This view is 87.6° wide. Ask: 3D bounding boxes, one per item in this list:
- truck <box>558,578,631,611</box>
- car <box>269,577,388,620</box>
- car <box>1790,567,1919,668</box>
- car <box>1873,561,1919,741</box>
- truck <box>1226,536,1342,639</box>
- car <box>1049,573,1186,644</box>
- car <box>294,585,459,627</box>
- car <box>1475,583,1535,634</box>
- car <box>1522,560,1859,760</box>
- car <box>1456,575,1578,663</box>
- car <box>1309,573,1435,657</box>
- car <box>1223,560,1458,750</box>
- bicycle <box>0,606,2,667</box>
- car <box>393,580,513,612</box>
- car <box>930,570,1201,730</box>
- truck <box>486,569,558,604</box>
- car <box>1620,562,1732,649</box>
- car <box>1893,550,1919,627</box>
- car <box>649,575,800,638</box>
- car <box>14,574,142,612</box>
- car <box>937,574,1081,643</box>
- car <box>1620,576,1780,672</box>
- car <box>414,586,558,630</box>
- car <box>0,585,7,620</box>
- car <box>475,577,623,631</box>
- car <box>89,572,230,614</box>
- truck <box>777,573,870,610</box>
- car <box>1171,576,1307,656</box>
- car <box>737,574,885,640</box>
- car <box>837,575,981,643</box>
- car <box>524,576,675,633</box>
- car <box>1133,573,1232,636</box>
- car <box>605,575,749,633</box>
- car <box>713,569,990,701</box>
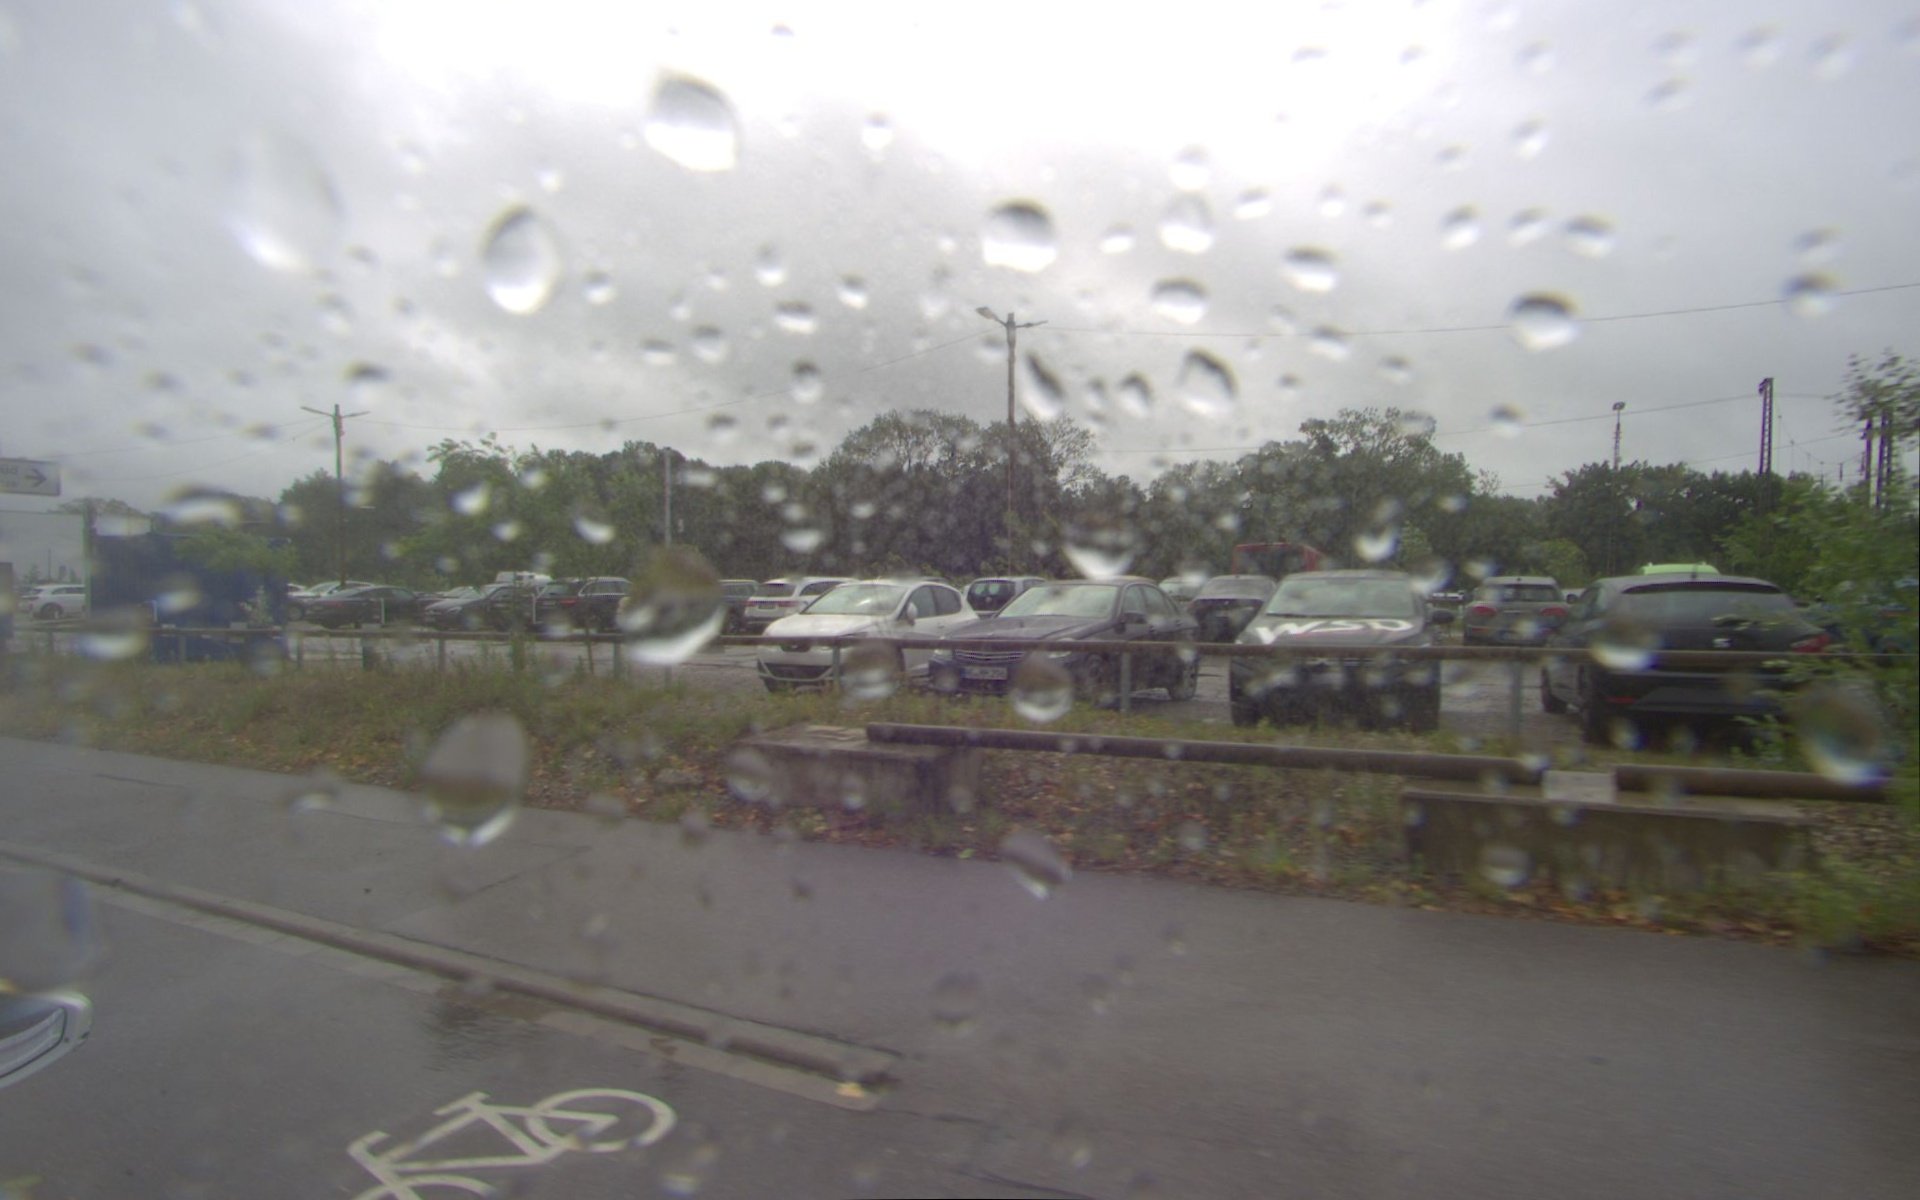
[{"bbox_3d":[-25.051,-0.390,68.562,5.010,2.167,2.067,1,2,32],"label":"truck"},{"bbox_3d":[-27.951,-0.089,44.463,1.802,1.682,4.057,-1,2,25],"label":"car"},{"bbox_3d":[15.922,0.232,17.154,1.897,1.510,4.058,-1,2,29],"label":"car"},{"bbox_3d":[9.060,0.440,7.728,1.866,1.615,3.896,0,0,25],"label":"car"},{"bbox_3d":[8.646,-0.356,26.380,2.119,2.400,5.284,1,2,27],"label":"truck"},{"bbox_3d":[3.703,0.141,22.982,1.858,1.447,3.945,-1,2,29],"label":"car"},{"bbox_3d":[-19.885,0.166,34.360,1.947,1.238,4.583,-1,2,26],"label":"car"},{"bbox_3d":[18.227,0.257,33.576,1.665,1.606,4.159,0,0,28],"label":"car"},{"bbox_3d":[6.363,0.446,9.217,1.750,1.413,3.896,-1,0,25],"label":"car"},{"bbox_3d":[10.630,0.287,19.158,1.858,1.447,3.945,-1,2,29],"label":"car"},{"bbox_3d":[8.262,0.229,19.877,1.858,1.447,3.945,-1,2,29],"label":"car"},{"bbox_3d":[3.793,0.439,9.745,1.750,1.441,3.896,0,0,25],"label":"car"},{"bbox_3d":[-17.316,0.652,17.668,0.503,1.099,1.687,-2,2,-41],"label":"bicycle"},{"bbox_3d":[-20.420,-0.186,40.501,1.802,1.086,4.057,-1,2,25],"label":"car"},{"bbox_3d":[1.367,0.474,11.185,1.875,1.441,3.896,-1,0,25],"label":"car"},{"bbox_3d":[-31.441,-1.015,71.881,5.003,2.435,2.070,1,2,27],"label":"truck"},{"bbox_3d":[16.406,0.097,23.126,1.770,1.824,3.979,0,1,31],"label":"car"},{"bbox_3d":[21.152,-0.246,20.707,1.738,1.662,3.983,0,1,28],"label":"car"},{"bbox_3d":[-6.295,0.131,27.189,1.751,1.510,3.945,-1,2,29],"label":"car"},{"bbox_3d":[-39.308,-0.354,44.715,1.899,1.504,3.821,-1,3,30],"label":"car"},{"bbox_3d":[1.254,0.146,23.780,1.858,1.447,3.945,-1,2,29],"label":"car"},{"bbox_3d":[13.078,0.348,17.938,1.794,1.447,3.945,-1,2,29],"label":"car"},{"bbox_3d":[-15.116,0.234,32.101,1.624,1.238,3.878,0,2,32],"label":"car"},{"bbox_3d":[-49.920,0.132,48.817,1.984,1.738,4.623,0,0,21],"label":"car"},{"bbox_3d":[-12.742,0.098,31.272,1.842,1.510,3.945,-1,2,29],"label":"car"},{"bbox_3d":[-32.679,-0.317,40.993,1.899,1.504,4.036,-1,3,30],"label":"car"},{"bbox_3d":[-7.979,-0.539,58.545,5.197,2.041,2.078,1,2,29],"label":"truck"},{"bbox_3d":[5.922,0.261,20.919,1.858,1.447,3.945,-1,2,29],"label":"car"},{"bbox_3d":[-3.785,0.137,26.047,1.751,1.510,3.945,-1,2,29],"label":"car"},{"bbox_3d":[-1.184,0.173,25.062,1.751,1.510,3.945,-1,2,29],"label":"car"},{"bbox_3d":[-10.524,0.102,29.508,1.842,1.510,3.945,-1,2,29],"label":"car"},{"bbox_3d":[6.199,0.072,27.584,1.742,1.595,3.983,1,2,27],"label":"car"},{"bbox_3d":[-8.202,0.083,29.368,1.751,1.510,3.945,-1,2,29],"label":"car"},{"bbox_3d":[-1.210,0.398,12.837,1.875,1.411,3.771,-1,0,25],"label":"car"}]
